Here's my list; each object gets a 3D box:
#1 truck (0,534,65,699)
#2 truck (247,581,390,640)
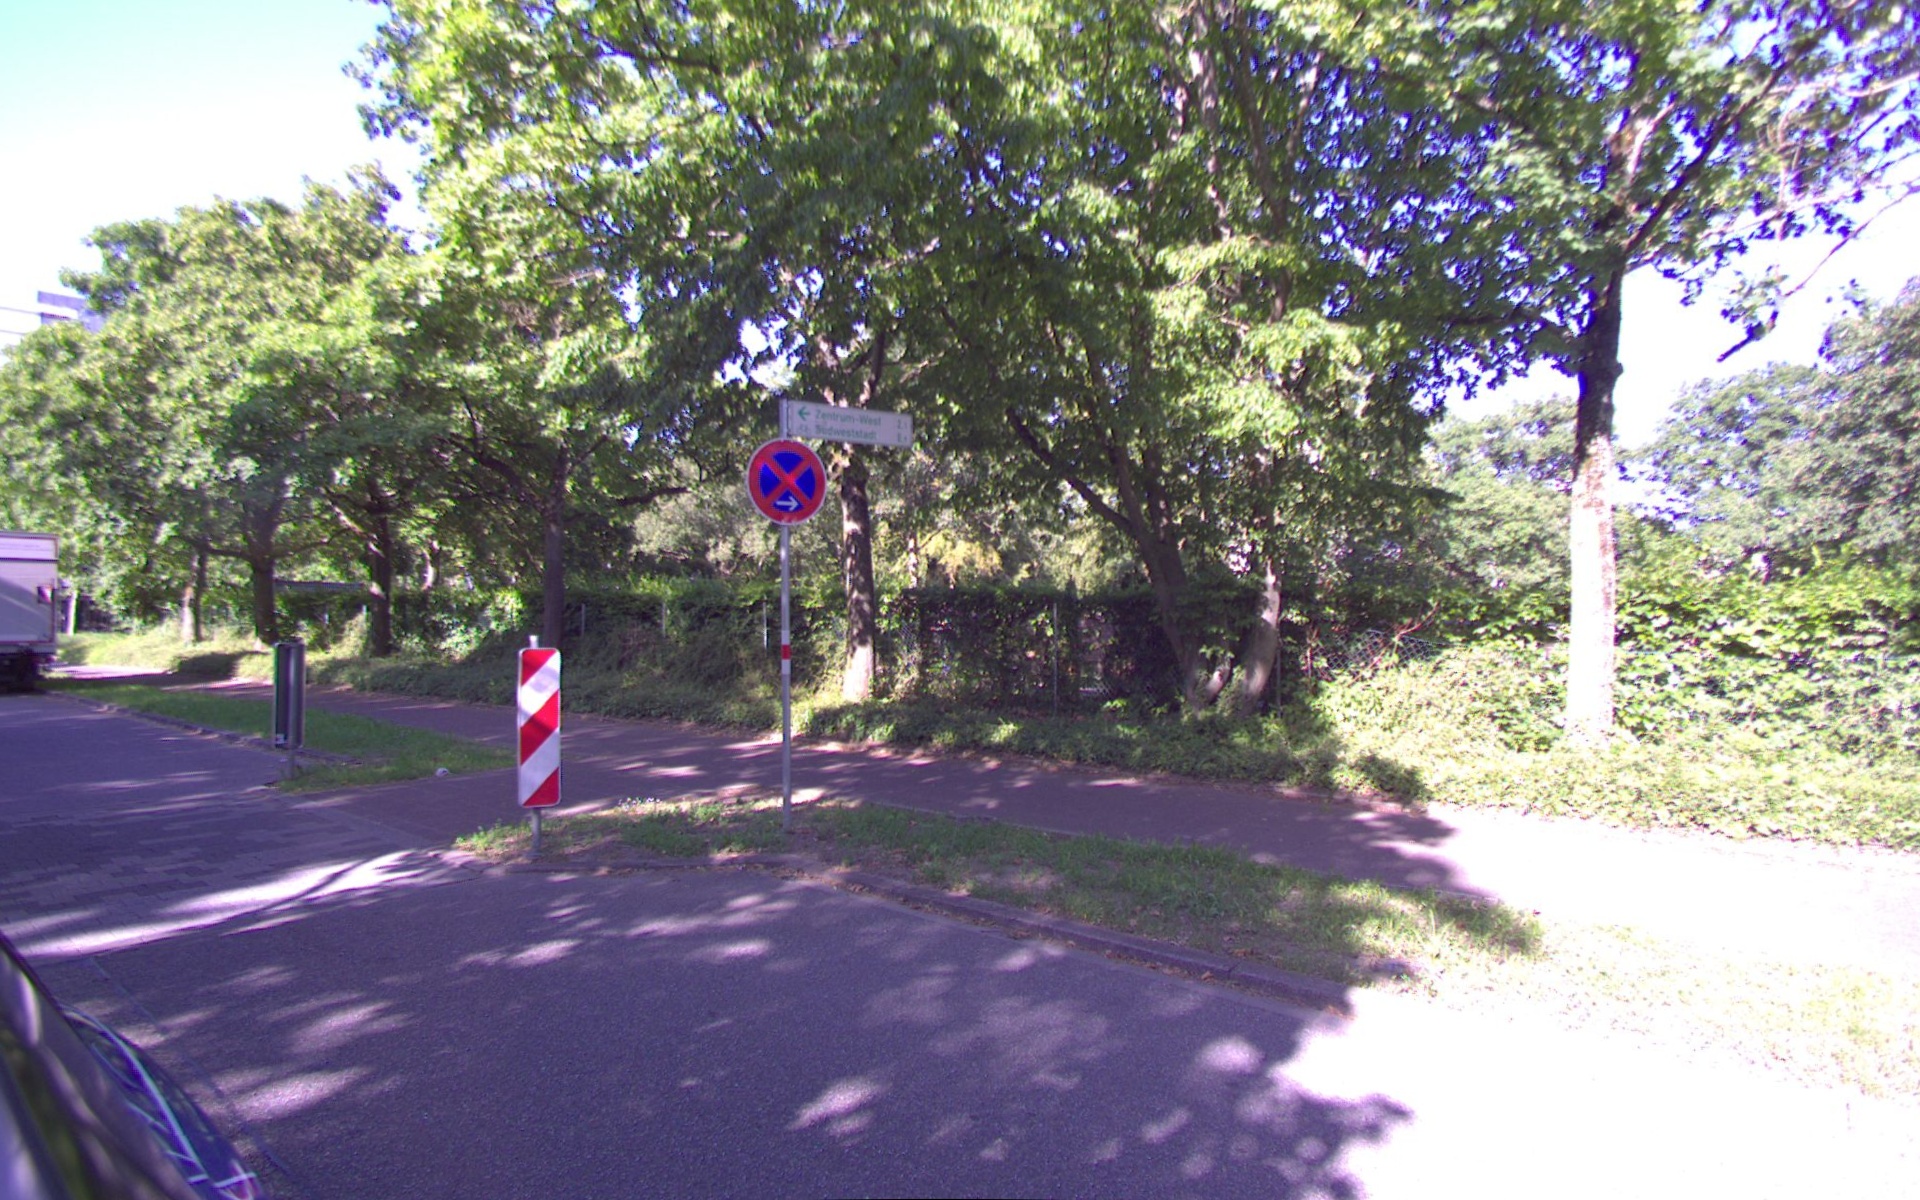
[{"bbox_3d":[-24.647,0.448,24.933,8.093,3.669,2.707,-2,-2,40],"label":"truck"},{"bbox_3d":[-23.742,0.443,37.575,2.201,2.029,3.949,-2,-3,38],"label":"truck"}]
